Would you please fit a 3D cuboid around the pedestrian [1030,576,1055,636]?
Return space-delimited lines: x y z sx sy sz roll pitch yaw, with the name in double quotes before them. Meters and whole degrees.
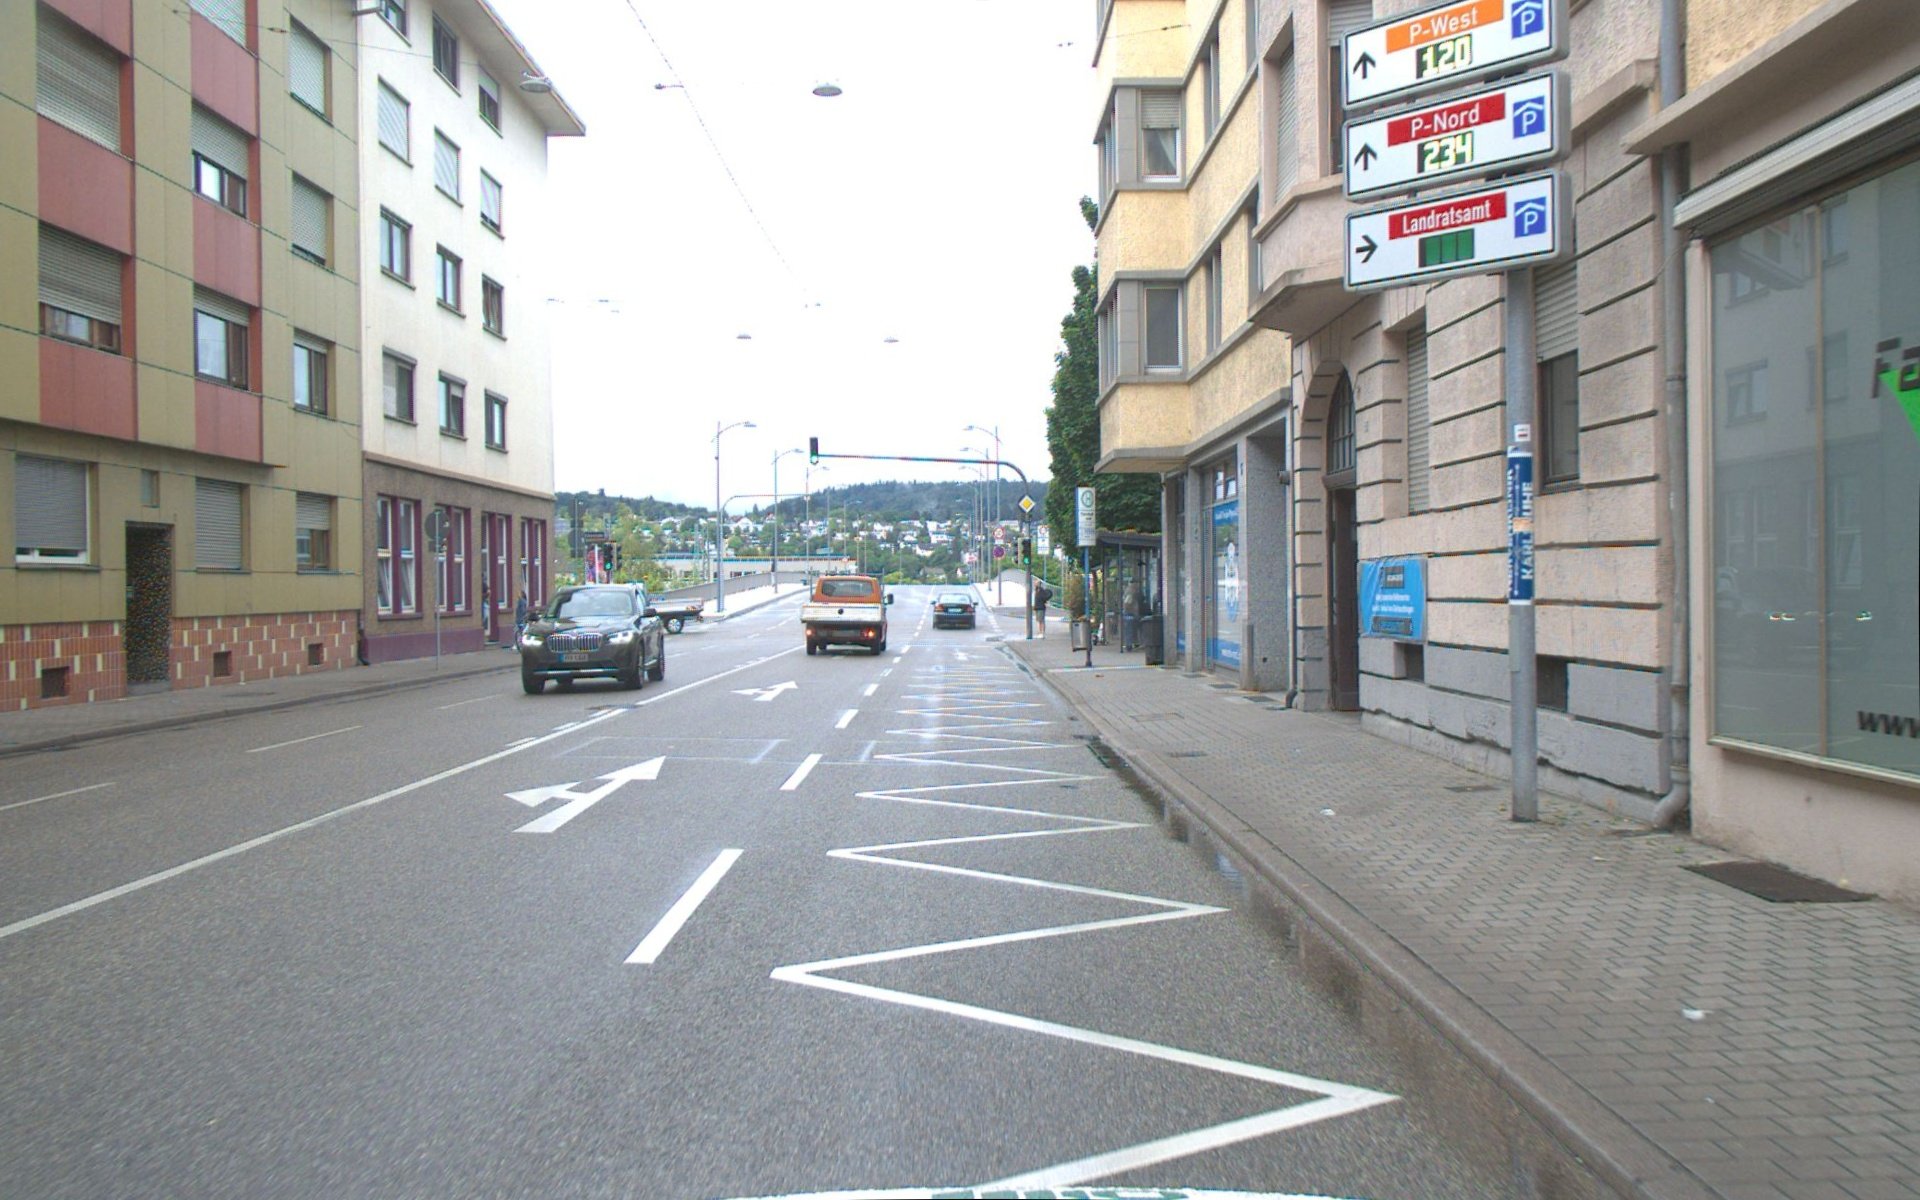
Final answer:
"pedestrian" 2.587 0.187 52.019 0.718 1.873 0.631 -1 -1 -2

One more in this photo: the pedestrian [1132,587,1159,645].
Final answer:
"pedestrian" 4.591 0.393 41.003 0.552 1.421 0.514 -1 -1 -3

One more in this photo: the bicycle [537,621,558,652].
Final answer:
"bicycle" -10.961 0.958 43.957 0.259 0.797 1.111 -1 0 0

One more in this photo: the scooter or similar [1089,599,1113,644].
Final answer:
"scooter or similar" 3.790 0.572 44.630 0.500 1.193 1.549 -1 0 0

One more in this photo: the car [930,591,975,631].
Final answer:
"car" -0.293 0.437 65.715 1.718 1.505 4.000 -1 0 0

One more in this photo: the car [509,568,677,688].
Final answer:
"car" -5.989 0.440 27.513 1.892 1.788 4.571 -1 0 -2

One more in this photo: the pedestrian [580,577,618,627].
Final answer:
"pedestrian" -15.015 0.081 68.825 0.967 2.049 1.168 -1 -1 40

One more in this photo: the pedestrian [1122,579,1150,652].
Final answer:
"pedestrian" 4.231 0.367 39.771 0.606 1.729 0.656 -1 -1 3

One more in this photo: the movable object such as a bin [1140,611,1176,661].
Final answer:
"movable object such as a bin" 3.799 0.694 31.825 0.588 0.942 0.704 -1 -1 -1

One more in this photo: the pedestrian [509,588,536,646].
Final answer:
"pedestrian" -11.985 0.468 45.343 0.563 1.581 0.739 -1 -1 -3

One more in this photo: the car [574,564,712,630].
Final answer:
"car" -12.056 -0.124 63.141 4.892 2.392 1.999 -1 0 -2

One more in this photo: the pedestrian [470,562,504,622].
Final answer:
"pedestrian" -12.976 -0.220 45.405 0.758 1.605 0.588 -1 -1 -1

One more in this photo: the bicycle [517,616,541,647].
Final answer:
"bicycle" -11.357 0.832 43.629 0.259 0.797 1.422 -1 0 0

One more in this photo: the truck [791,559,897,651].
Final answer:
"truck" -2.899 0.137 42.547 2.351 2.167 5.314 -1 0 -1
